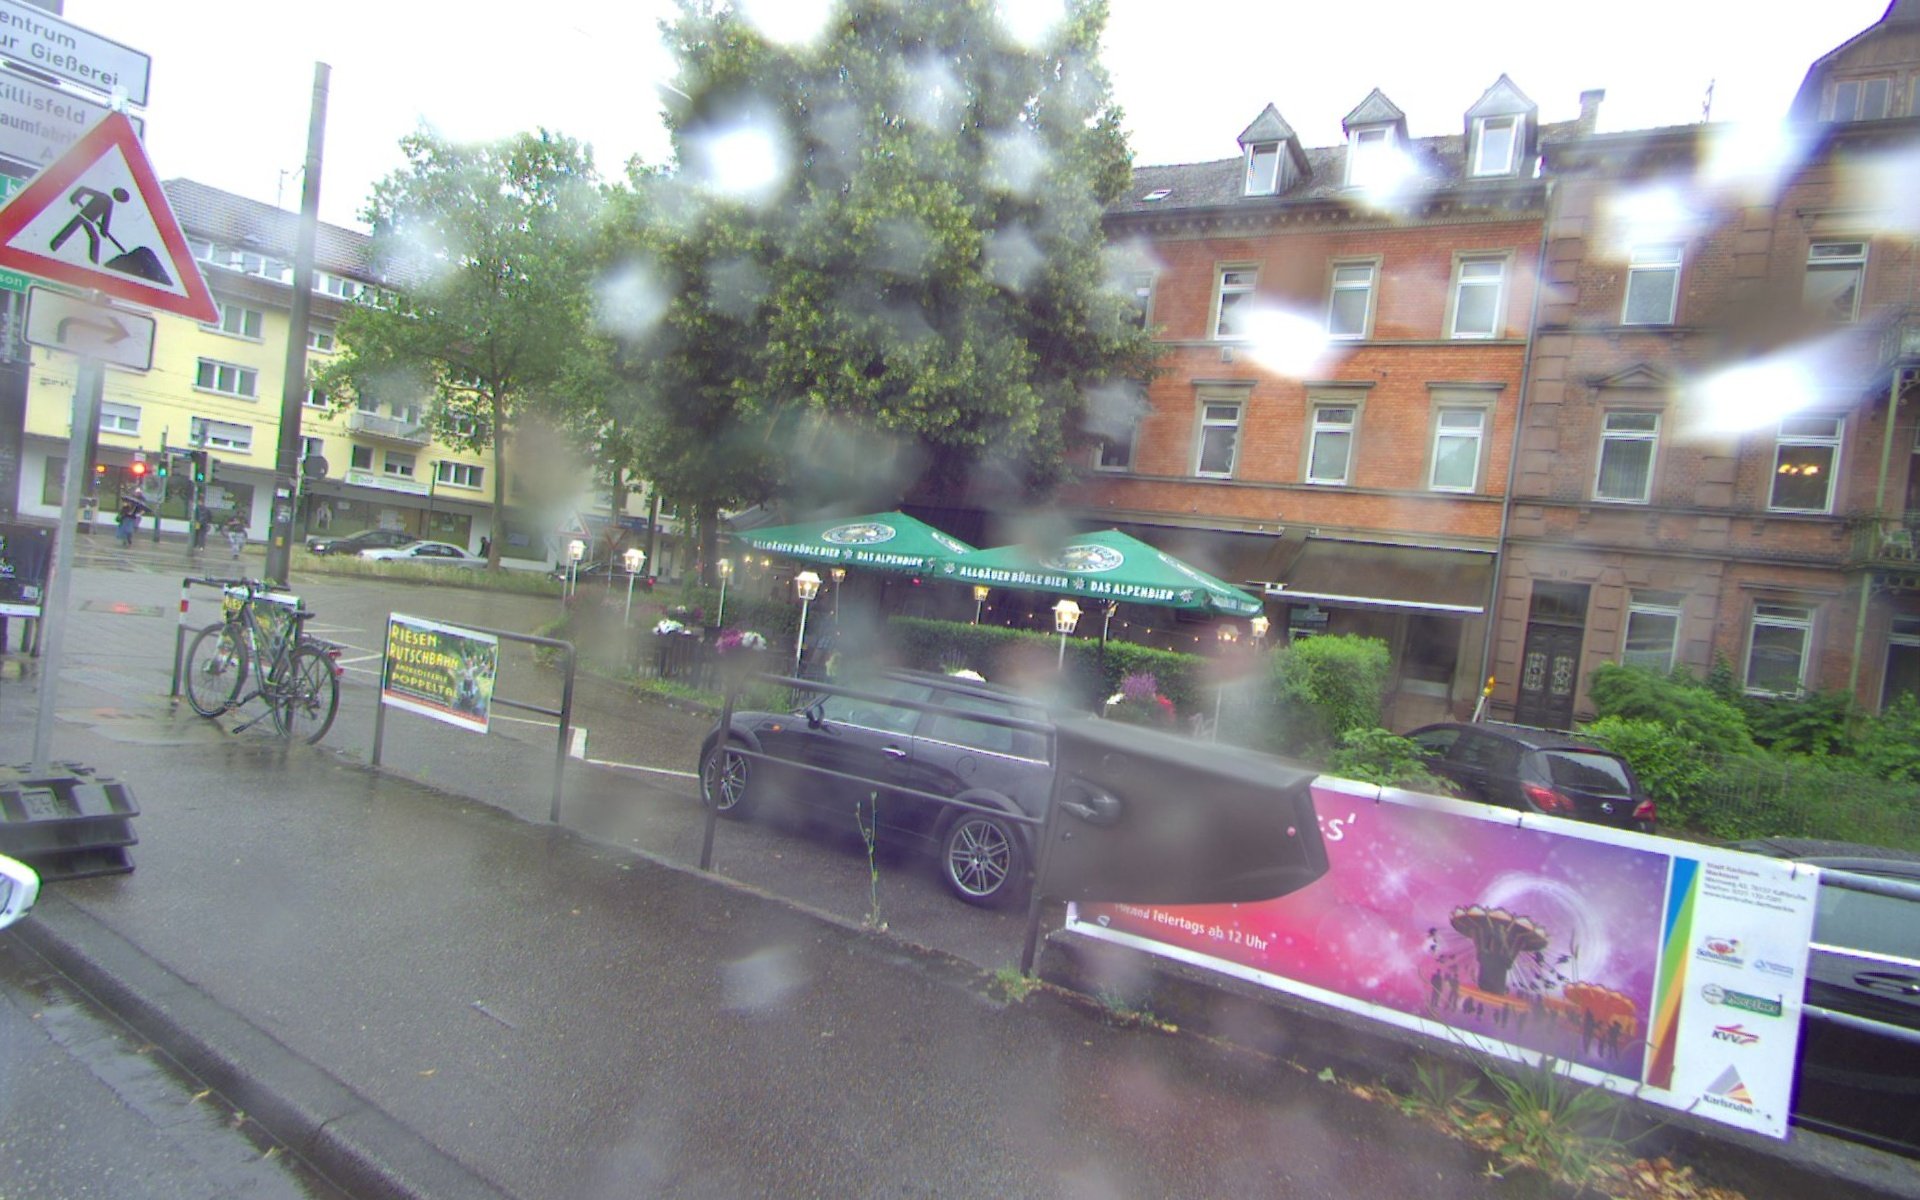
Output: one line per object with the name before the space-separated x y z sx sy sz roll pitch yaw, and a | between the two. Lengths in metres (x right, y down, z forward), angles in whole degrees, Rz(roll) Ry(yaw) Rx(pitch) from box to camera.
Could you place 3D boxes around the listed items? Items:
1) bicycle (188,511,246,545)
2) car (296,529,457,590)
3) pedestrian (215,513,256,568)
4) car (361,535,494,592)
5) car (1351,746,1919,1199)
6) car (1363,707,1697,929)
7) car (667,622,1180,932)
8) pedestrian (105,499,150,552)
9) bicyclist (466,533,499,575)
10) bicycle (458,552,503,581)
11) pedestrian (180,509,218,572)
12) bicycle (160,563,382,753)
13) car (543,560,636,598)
bicycle | -35.587 -3.436 48.194 2.096 1.277 0.525 8 0 -44
car | -22.431 -1.522 38.819 1.975 1.661 4.928 3 -4 43
pedestrian | -24.097 -1.975 33.479 0.898 1.689 1.011 7 -1 -32
car | -19.733 -1.342 37.371 3.926 1.508 1.784 8 0 -43
car | 4.211 1.789 4.953 3.907 1.416 1.706 7 -1 32
car | 6.592 2.418 12.247 1.962 1.733 4.004 7 -1 7
car | -0.341 1.213 7.795 3.468 1.457 1.710 8 -3 34
pedestrian | -26.464 -2.354 31.980 0.612 1.552 0.816 7 0 -6
bicyclist | -19.956 -1.913 42.026 0.699 1.634 0.815 7 0 33
bicycle | -20.013 -1.397 42.047 0.415 1.013 1.640 7 -1 32
pedestrian | -26.153 -2.040 34.584 0.790 2.038 0.853 7 0 -33
bicycle | -5.167 0.402 7.493 1.984 1.119 0.515 7 -3 34
car | -15.503 -0.863 42.270 1.227 1.095 3.531 7 -2 34
